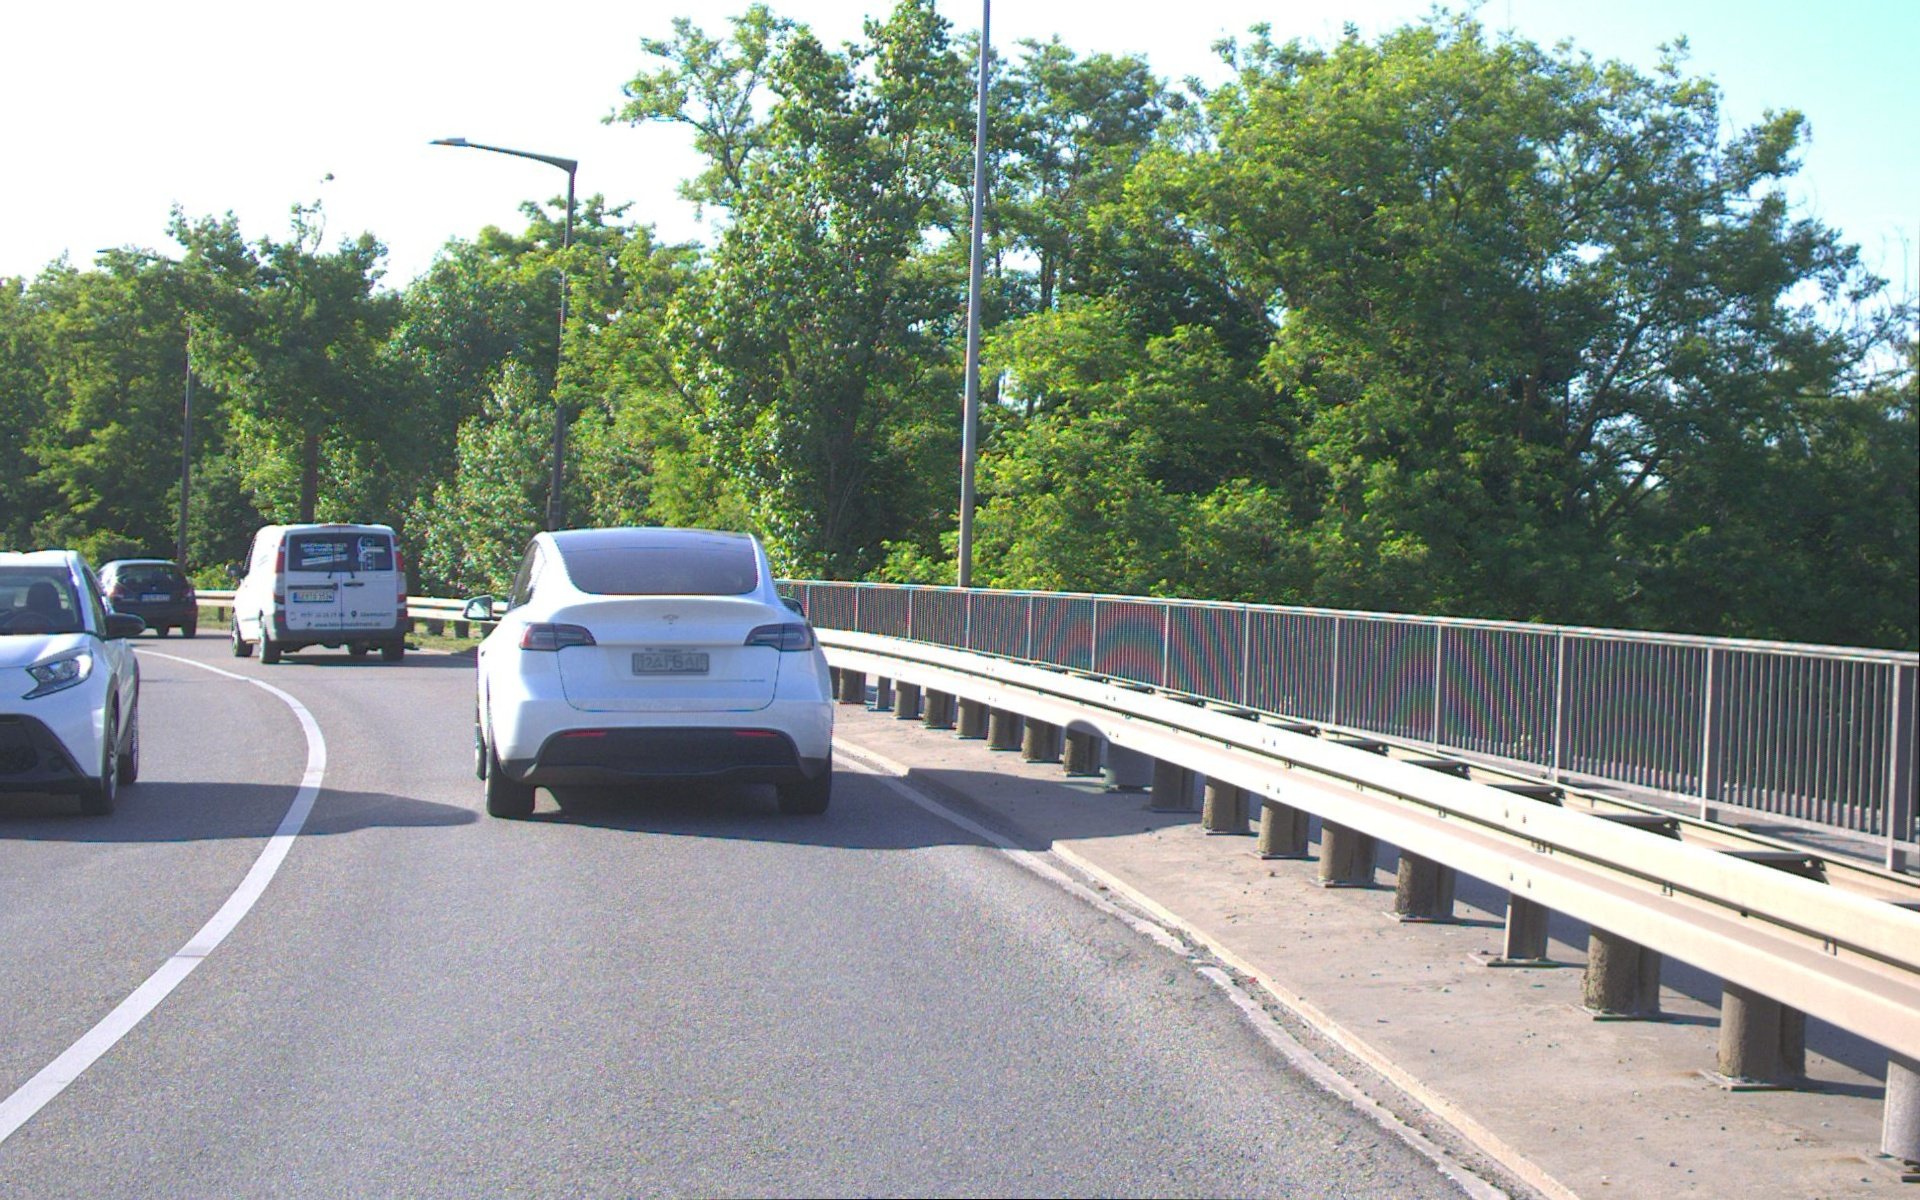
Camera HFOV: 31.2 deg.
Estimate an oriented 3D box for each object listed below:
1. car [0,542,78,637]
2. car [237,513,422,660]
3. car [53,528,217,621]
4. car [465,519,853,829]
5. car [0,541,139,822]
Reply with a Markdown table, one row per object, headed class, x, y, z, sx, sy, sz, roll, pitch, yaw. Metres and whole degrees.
| class | x | y | z | sx | sy | sz | roll | pitch | yaw |
| --- | --- | --- | --- | --- | --- | --- | --- | --- | --- |
| car | -16.170 | -0.208 | 57.973 | 1.823 | 1.546 | 4.186 | 0 | 1 | -24 |
| car | -8.756 | -0.221 | 47.466 | 2.004 | 1.934 | 4.469 | 0 | 1 | -17 |
| car | -15.154 | -0.463 | 63.011 | 1.968 | 1.632 | 4.000 | -1 | 0 | -28 |
| car | -1.878 | 0.360 | 20.267 | 1.985 | 1.632 | 4.064 | 0 | 1 | -9 |
| car | -5.852 | 0.410 | 20.385 | 1.836 | 1.514 | 3.771 | 0 | 1 | -15 |
